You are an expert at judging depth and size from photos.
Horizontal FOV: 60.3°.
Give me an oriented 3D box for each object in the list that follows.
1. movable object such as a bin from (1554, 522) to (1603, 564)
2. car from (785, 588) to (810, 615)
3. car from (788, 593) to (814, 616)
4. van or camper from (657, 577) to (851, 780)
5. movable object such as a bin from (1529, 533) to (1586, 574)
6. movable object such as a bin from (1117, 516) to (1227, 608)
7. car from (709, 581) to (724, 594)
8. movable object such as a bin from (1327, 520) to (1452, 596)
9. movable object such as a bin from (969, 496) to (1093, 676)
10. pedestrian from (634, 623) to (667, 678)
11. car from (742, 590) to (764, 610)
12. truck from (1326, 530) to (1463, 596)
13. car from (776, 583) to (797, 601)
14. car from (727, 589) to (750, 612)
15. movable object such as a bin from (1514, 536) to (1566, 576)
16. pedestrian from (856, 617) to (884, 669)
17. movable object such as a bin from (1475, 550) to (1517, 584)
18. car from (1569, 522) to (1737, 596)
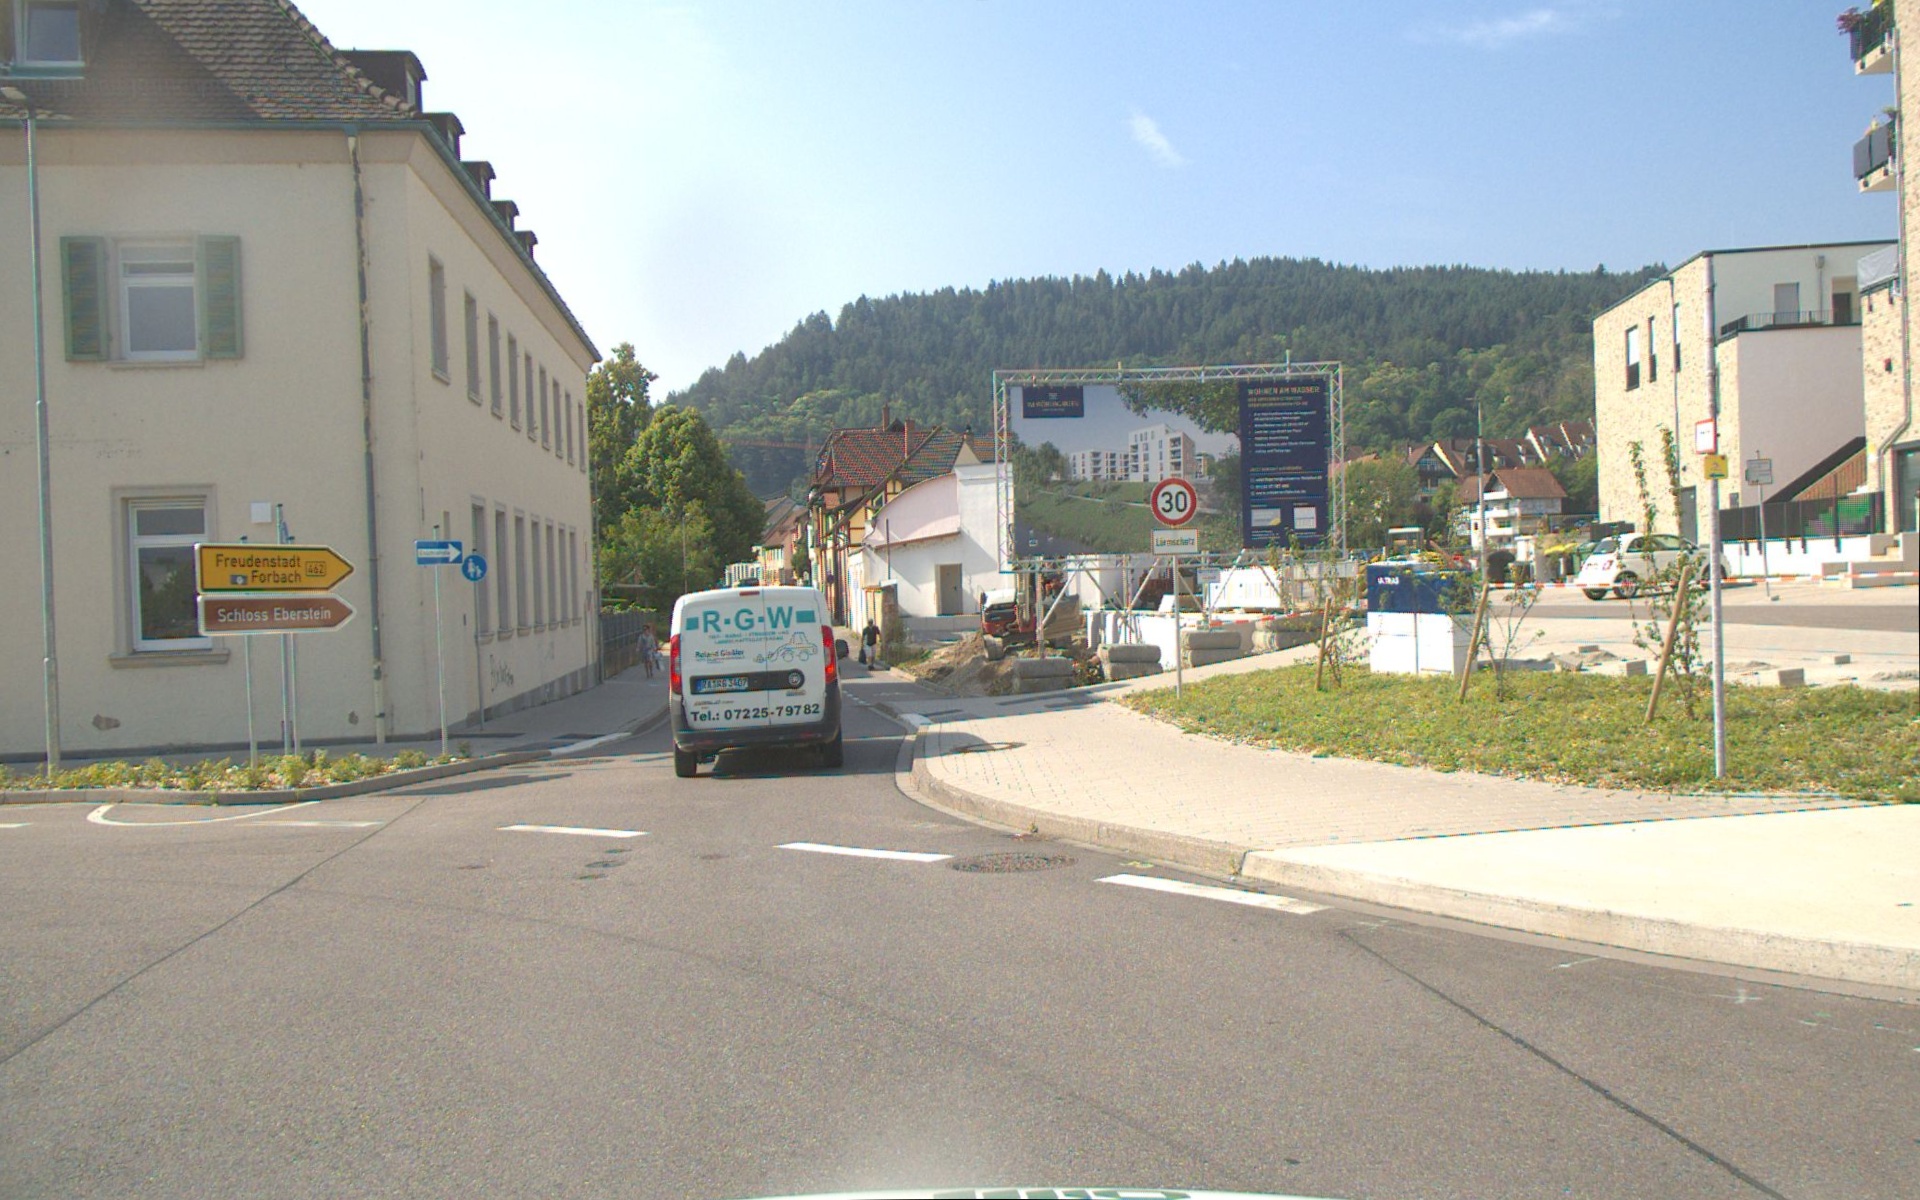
[{"bbox_3d":[21.911,-2.012,58.620,1.272,1.489,1.321,0,1,3],"label":"movable object such as a bin"},{"bbox_3d":[-13.017,0.071,132.437,1.836,2.049,3.993,-2,1,-8],"label":"car"},{"bbox_3d":[-11.797,0.342,122.445,1.776,1.624,3.921,0,1,-7],"label":"car"},{"bbox_3d":[-2.214,0.816,18.289,1.793,1.876,4.183,-3,-1,-6],"label":"van or camper"},{"bbox_3d":[22.099,-1.708,61.177,1.657,1.489,1.321,0,1,3],"label":"movable object such as a bin"},{"bbox_3d":[8.950,-1.595,69.316,2.795,3.685,5.729,1,1,27],"label":"movable object such as a bin"},{"bbox_3d":[-32.311,-1.630,219.439,1.778,1.624,3.916,0,1,-11],"label":"car"},{"bbox_3d":[16.869,-1.630,64.950,4.516,2.614,1.926,-4,0,18],"label":"movable object such as a bin"},{"bbox_3d":[1.582,-0.312,40.062,2.249,3.921,7.793,0,0,-3],"label":"movable object such as a bin"},{"bbox_3d":[-9.756,1.582,52.146,0.940,1.659,0.757,-1,0,-8],"label":"pedestrian"},{"bbox_3d":[-17.567,-0.051,140.207,1.777,1.624,3.920,0,1,-8],"label":"car"},{"bbox_3d":[17.929,-1.526,68.145,5.204,2.305,2.220,-4,0,19],"label":"truck"},{"bbox_3d":[-15.607,-0.712,148.629,1.639,1.534,3.992,-3,1,-9],"label":"car"},{"bbox_3d":[-30.511,0.028,227.637,2.822,2.884,6.111,-3,1,-9],"label":"car"},{"bbox_3d":[21.932,-1.647,62.545,1.547,1.489,1.321,0,1,3],"label":"movable object such as a bin"},{"bbox_3d":[-2.988,1.421,54.761,0.871,1.712,0.717,-1,-1,-7],"label":"pedestrian"},{"bbox_3d":[20.857,-1.283,64.391,1.269,1.290,1.321,0,1,3],"label":"movable object such as a bin"},{"bbox_3d":[16.758,-0.975,40.072,3.342,1.521,1.591,-4,-1,-8],"label":"car"}]
